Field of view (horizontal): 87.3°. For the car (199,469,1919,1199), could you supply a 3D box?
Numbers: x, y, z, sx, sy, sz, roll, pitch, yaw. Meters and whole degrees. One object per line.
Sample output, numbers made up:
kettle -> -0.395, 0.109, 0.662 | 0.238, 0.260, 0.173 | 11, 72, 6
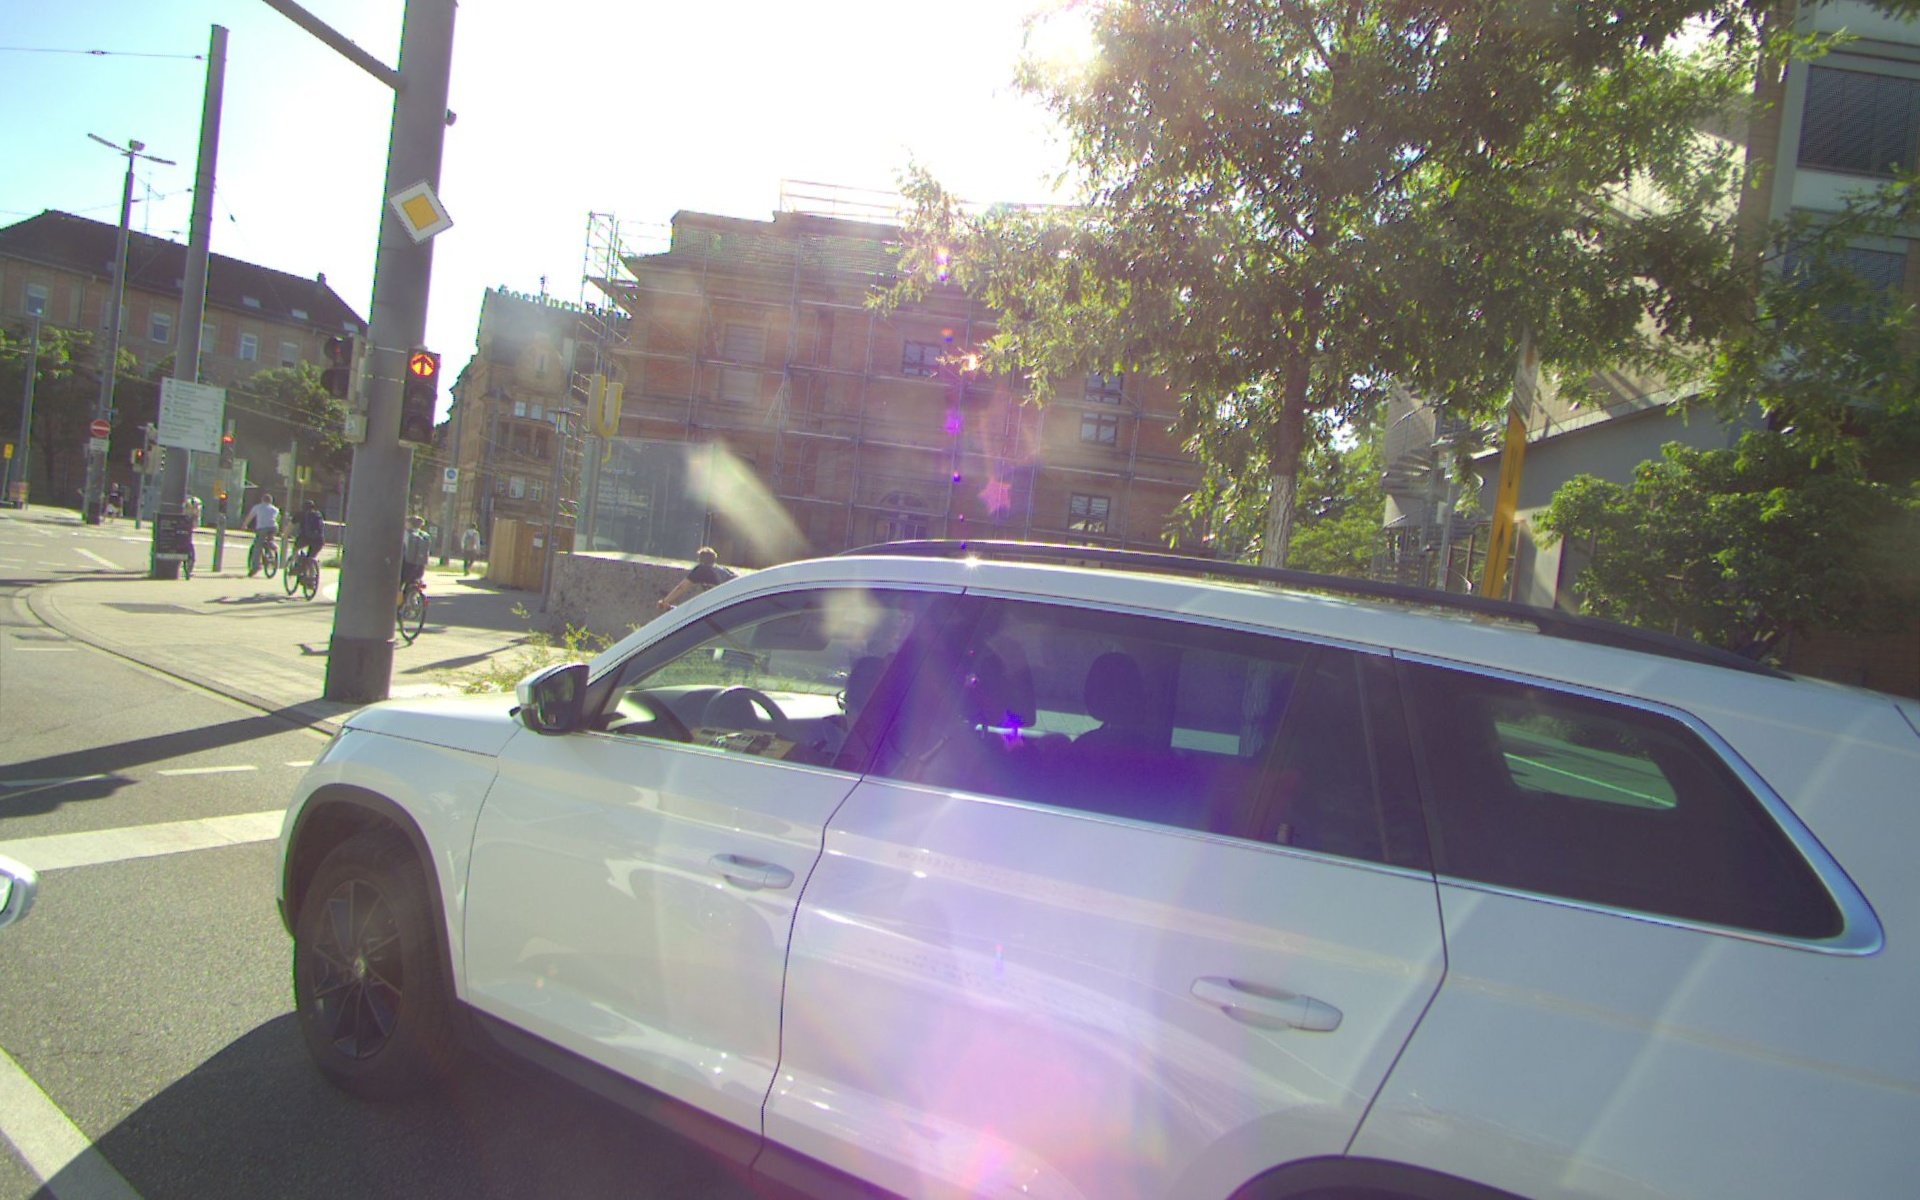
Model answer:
car -> 0.025, 0.714, 2.684 | 4.224, 1.662, 1.697 | 7, 0, 30

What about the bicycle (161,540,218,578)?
bicycle -> -16.637, -0.884, 21.702 | 1.699, 0.664, 0.536 | 7, 3, 37

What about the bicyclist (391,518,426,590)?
bicyclist -> -12.790, -1.070, 23.306 | 0.567, 1.588, 0.939 | 6, 1, -30

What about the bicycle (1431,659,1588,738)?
bicycle -> 13.061, 2.325, 23.995 | 3.079, 1.395, 0.798 | 7, 1, 8

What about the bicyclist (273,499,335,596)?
bicyclist -> -11.917, -0.961, 18.277 | 0.981, 1.659, 0.624 | 8, 3, 41

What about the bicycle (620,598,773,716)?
bicycle -> -2.924, 0.601, 11.094 | 1.739, 1.059, 0.516 | 7, 3, 33

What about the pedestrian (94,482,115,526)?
pedestrian -> -41.418, -4.666, 48.727 | 0.443, 2.039, 0.462 | 7, 2, 14

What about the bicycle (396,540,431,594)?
bicycle -> -12.707, -0.775, 23.361 | 0.567, 1.139, 1.726 | 6, 1, -31

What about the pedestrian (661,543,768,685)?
pedestrian -> -2.688, 0.143, 10.988 | 0.946, 1.421, 0.516 | 7, 3, 32

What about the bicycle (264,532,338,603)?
bicycle -> -12.061, -0.605, 18.392 | 1.825, 1.129, 0.624 | 7, 3, 42

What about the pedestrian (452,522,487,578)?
pedestrian -> -17.468, -1.777, 35.858 | 0.887, 1.883, 0.922 | 6, 1, -23

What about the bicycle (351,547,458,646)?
bicycle -> -7.686, -0.062, 13.887 | 1.857, 1.179, 0.683 | 7, 3, 42

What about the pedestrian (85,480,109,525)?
pedestrian -> -41.128, -4.658, 47.963 | 0.443, 2.039, 0.574 | 7, 1, 14

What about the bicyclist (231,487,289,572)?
bicyclist -> -15.885, -1.595, 22.835 | 0.910, 1.802, 0.746 | 8, 2, 39

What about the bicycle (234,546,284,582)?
bicycle -> -15.960, -0.824, 22.887 | 1.446, 0.664, 0.536 | 7, 2, 39

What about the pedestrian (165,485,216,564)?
pedestrian -> -16.552, -1.622, 21.646 | 0.845, 1.582, 0.548 | 7, 1, 37

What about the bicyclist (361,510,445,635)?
bicyclist -> -7.730, -0.381, 13.952 | 0.964, 1.620, 0.683 | 8, 4, 42
